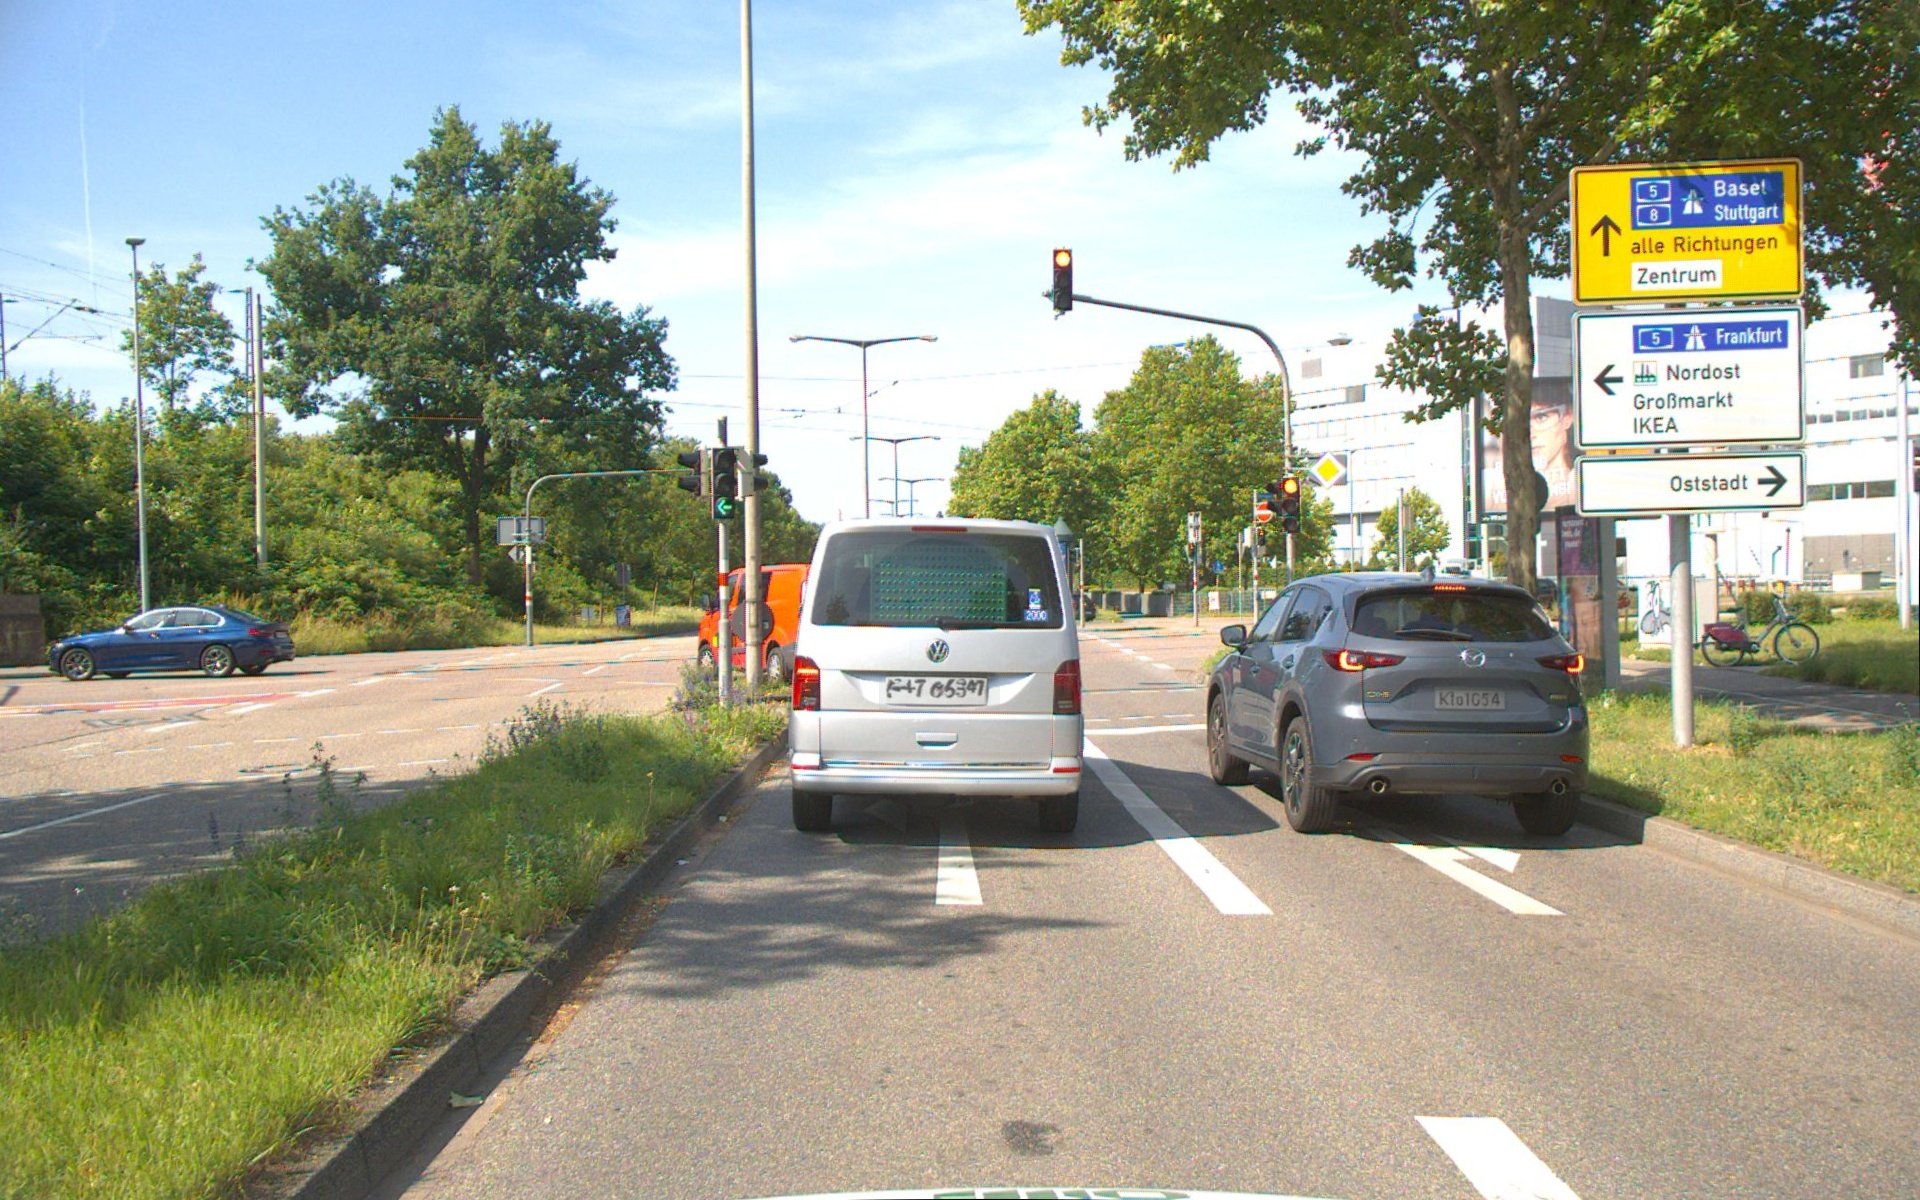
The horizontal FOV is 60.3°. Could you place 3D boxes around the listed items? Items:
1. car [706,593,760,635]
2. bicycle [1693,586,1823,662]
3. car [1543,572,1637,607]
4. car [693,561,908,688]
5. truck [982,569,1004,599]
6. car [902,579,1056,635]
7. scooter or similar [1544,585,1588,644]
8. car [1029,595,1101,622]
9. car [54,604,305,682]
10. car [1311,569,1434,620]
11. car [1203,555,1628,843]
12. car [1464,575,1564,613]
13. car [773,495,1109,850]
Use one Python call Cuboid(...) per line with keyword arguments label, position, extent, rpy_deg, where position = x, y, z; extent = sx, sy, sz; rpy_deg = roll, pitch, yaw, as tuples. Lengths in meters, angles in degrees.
Cuboid(label="car", position=(-9.228, 0.551, 67.476), extent=(1.813, 1.588, 3.998), rpy_deg=(-1, 0, -3))
Cuboid(label="bicycle", position=(12.588, 0.380, 26.119), extent=(1.748, 1.127, 0.504), rpy_deg=(-3, 0, 18))
Cuboid(label="car", position=(27.900, -0.473, 73.147), extent=(4.578, 1.469, 1.758), rpy_deg=(-2, 0, -38))
Cuboid(label="car", position=(-2.804, 0.382, 28.083), extent=(1.947, 1.958, 4.515), rpy_deg=(-1, 0, -30))
Cuboid(label="truck", position=(5.214, -2.473, 258.040), extent=(3.125, 4.431, 13.151), rpy_deg=(-1, 0, 2))
Cuboid(label="car", position=(0.527, 0.206, 48.473), extent=(4.311, 1.537, 1.842), rpy_deg=(-1, 0, 39))
Cuboid(label="scooter or similar", position=(12.169, 0.288, 33.243), extent=(0.416, 1.146, 1.123), rpy_deg=(-1, 0, -2))
Cuboid(label="car", position=(5.092, 0.421, 80.318), extent=(1.636, 1.258, 3.200), rpy_deg=(-2, 0, -44))
Cuboid(label="car", position=(-15.865, 0.857, 33.796), extent=(4.227, 1.421, 1.791), rpy_deg=(-1, 0, -5))
Cuboid(label="car", position=(14.920, -0.224, 59.713), extent=(4.578, 1.718, 1.890), rpy_deg=(-2, 0, -38))
Cuboid(label="car", position=(3.027, 0.580, 12.025), extent=(1.730, 1.688, 4.495), rpy_deg=(1, 0, -2))
Cuboid(label="car", position=(23.418, -0.268, 69.814), extent=(4.578, 1.469, 1.758), rpy_deg=(-2, 0, -38))
Cuboid(label="car", position=(-0.144, 0.403, 11.965), extent=(1.902, 2.006, 5.021), rpy_deg=(-1, 0, -1))
